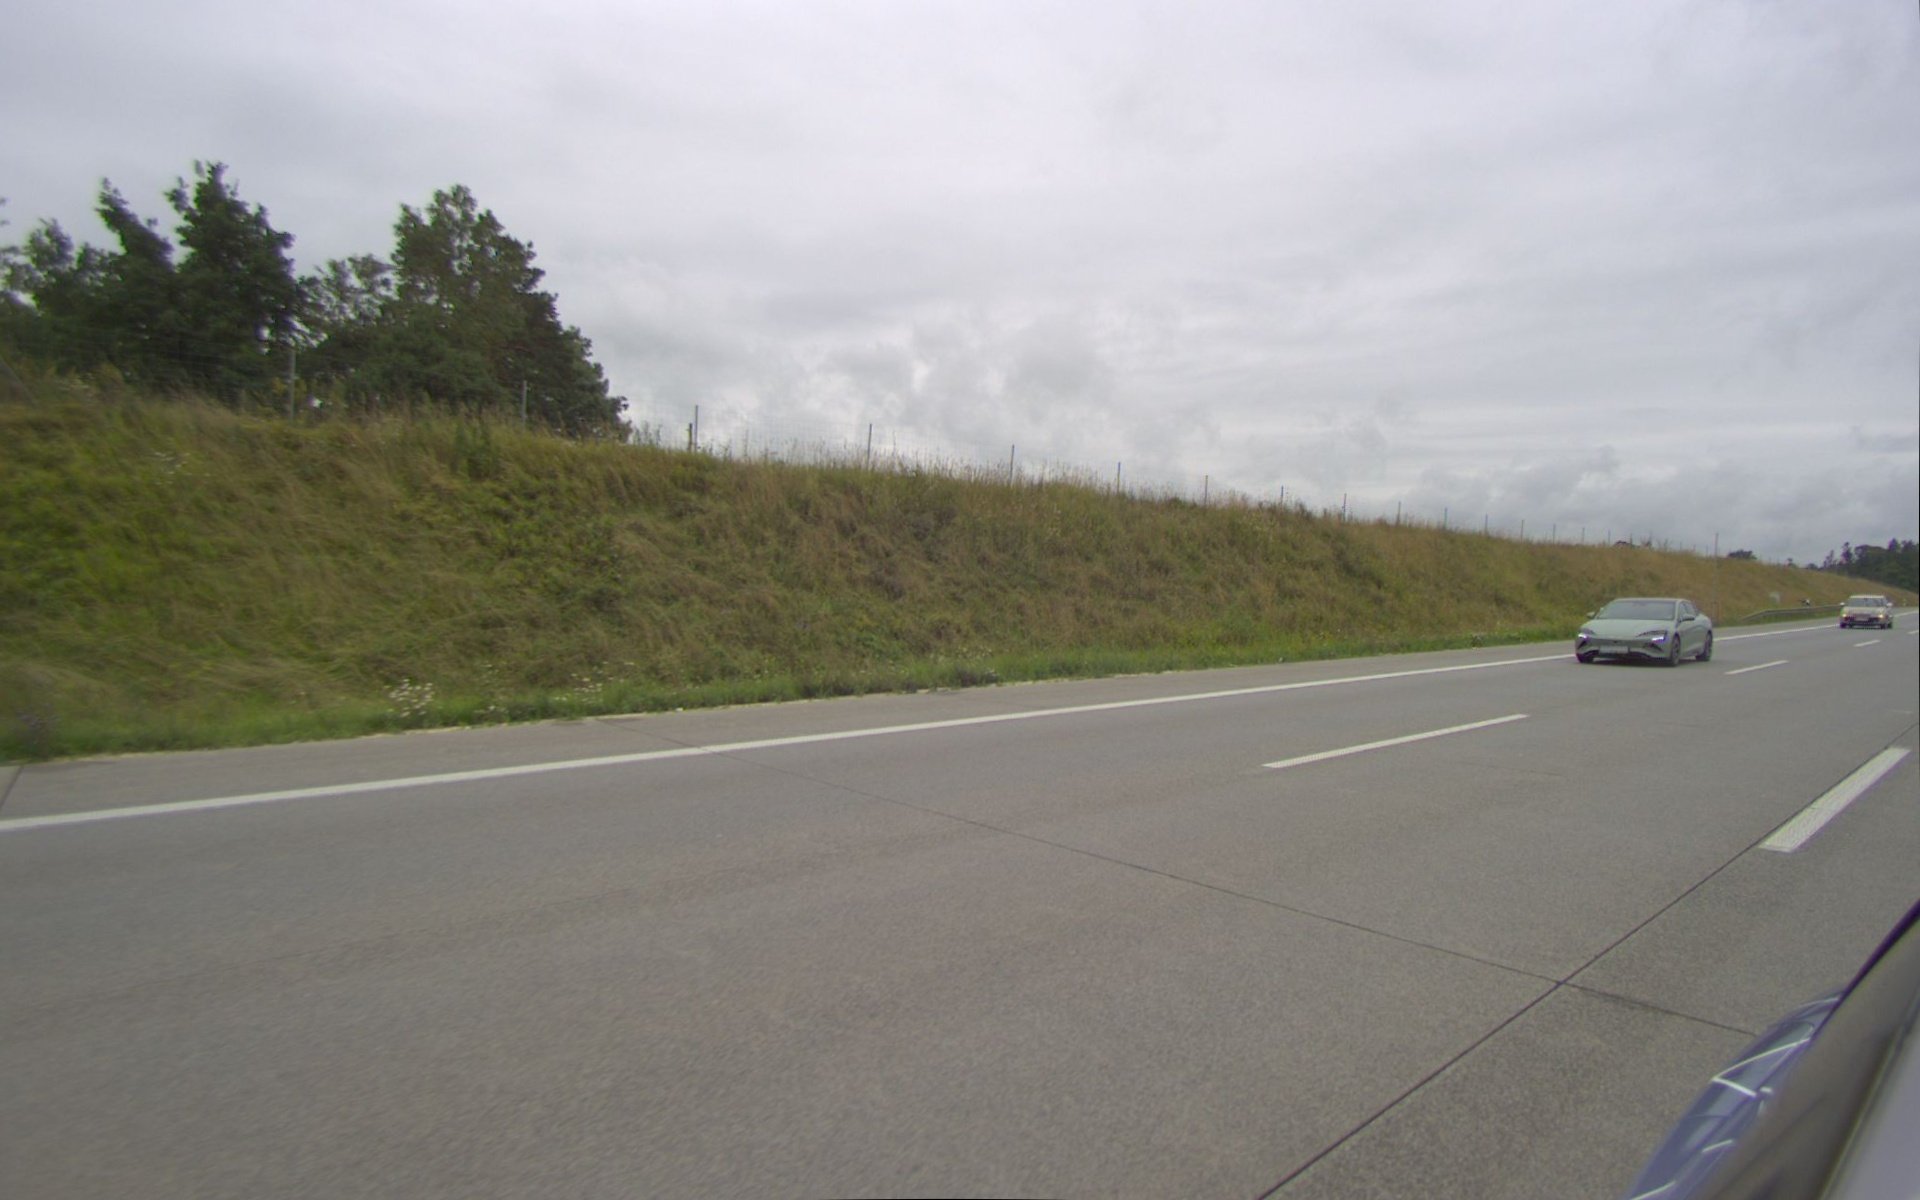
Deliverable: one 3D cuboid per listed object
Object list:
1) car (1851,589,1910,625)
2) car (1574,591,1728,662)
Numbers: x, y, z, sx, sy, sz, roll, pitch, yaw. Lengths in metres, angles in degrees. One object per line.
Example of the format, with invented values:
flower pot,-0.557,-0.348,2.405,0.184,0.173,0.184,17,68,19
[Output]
car,45.856,0.374,50.364,4.494,1.624,1.788,1,3,-44
car,15.958,0.583,23.263,4.665,1.464,2.016,1,-1,-44
